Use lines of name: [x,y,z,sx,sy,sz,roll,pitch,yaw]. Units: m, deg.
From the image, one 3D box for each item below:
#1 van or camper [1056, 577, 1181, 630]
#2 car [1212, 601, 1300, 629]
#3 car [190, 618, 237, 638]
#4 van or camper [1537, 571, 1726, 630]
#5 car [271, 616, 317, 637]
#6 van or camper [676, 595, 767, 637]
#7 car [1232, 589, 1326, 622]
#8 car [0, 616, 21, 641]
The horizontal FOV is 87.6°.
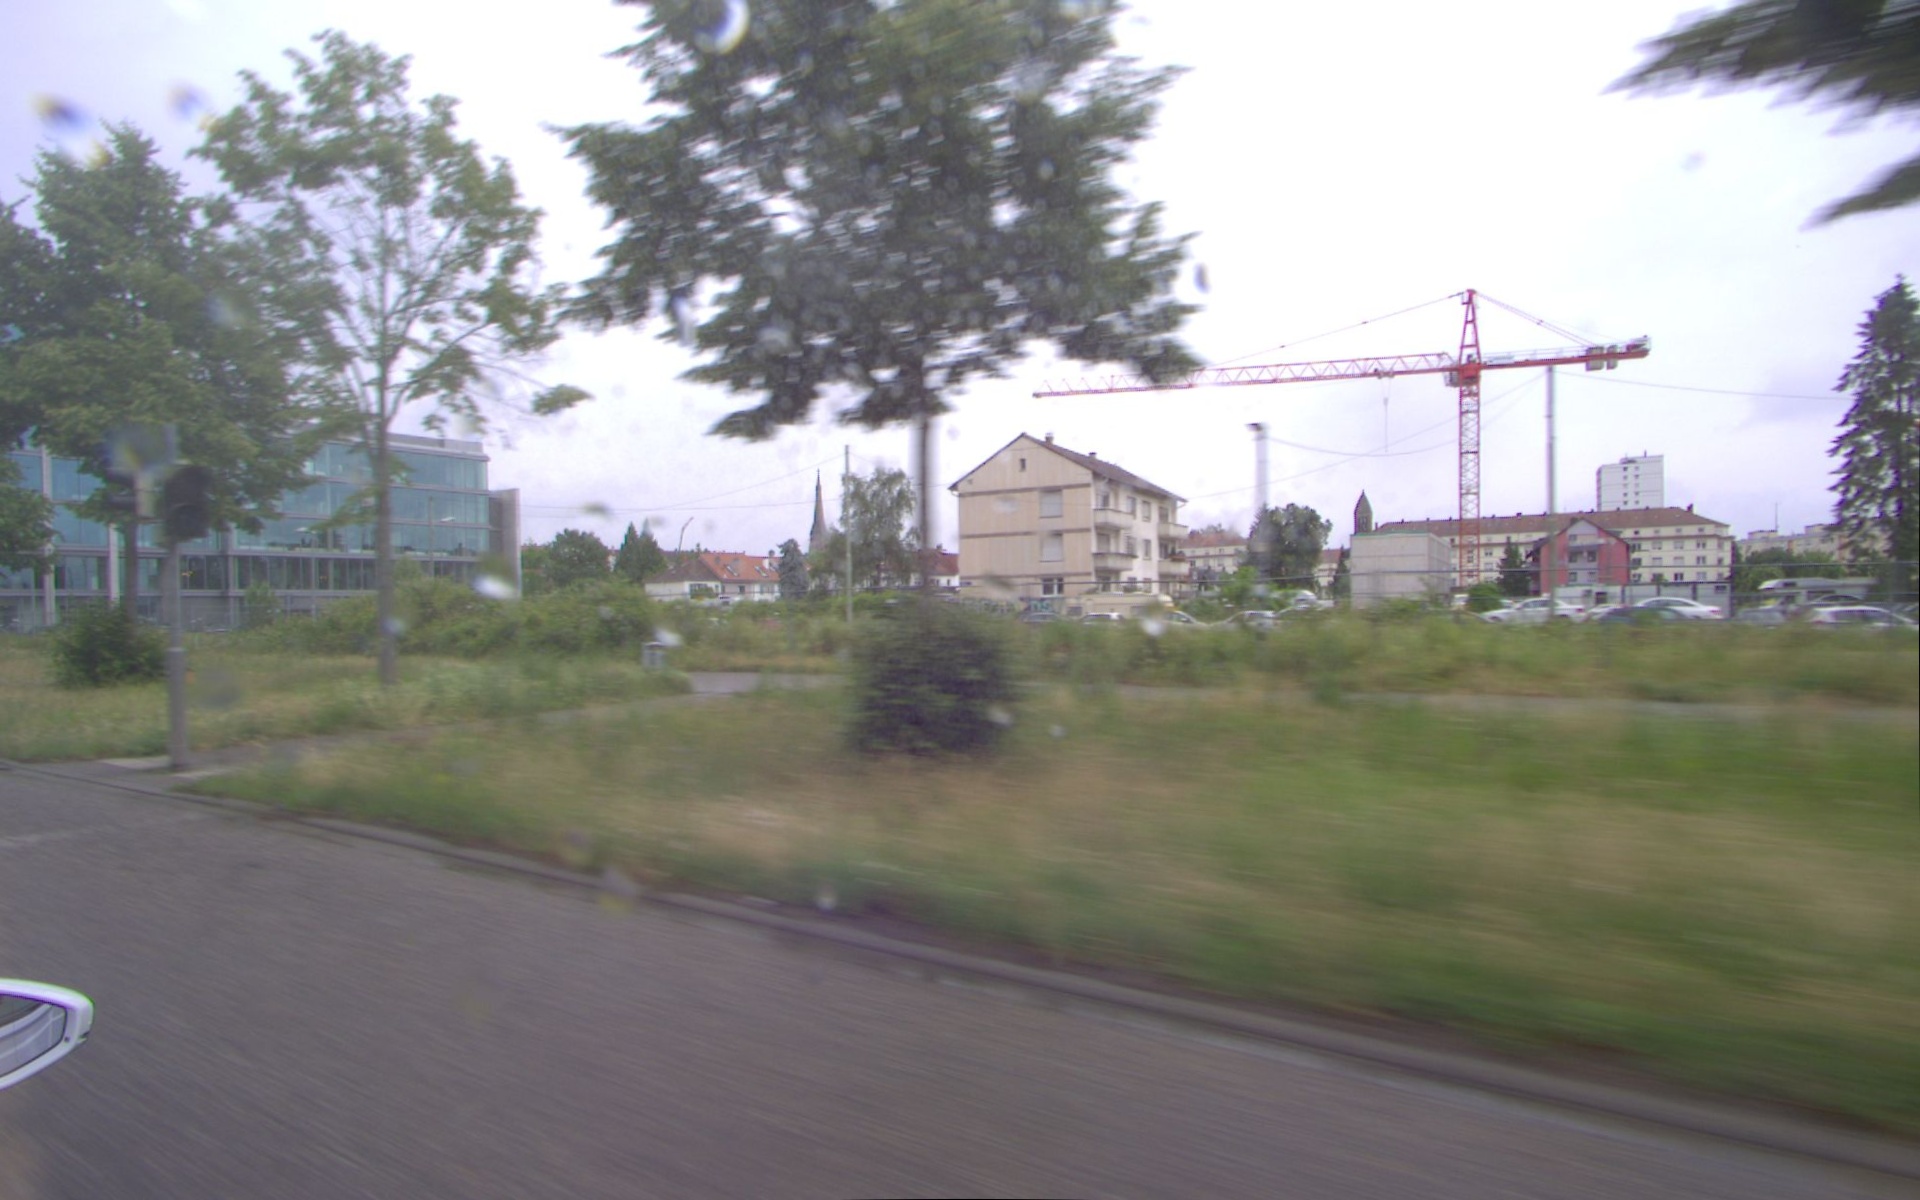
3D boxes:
van or camper: [8.559,0.220,54.299,6.301,2.724,2.305,-1,0,30]
car: [14.906,0.769,50.444,3.976,1.370,1.692,-1,-1,33]
car: [-55.131,2.055,73.927,4.177,1.494,1.779,-1,-1,38]
van or camper: [28.552,0.089,42.954,6.549,2.336,2.500,-1,-2,30]
car: [-51.689,2.032,77.732,3.950,1.622,1.848,-1,-1,38]
van or camper: [-18.150,1.217,76.115,6.681,3.033,2.900,-1,0,33]
car: [19.380,0.349,60.858,5.127,1.919,2.160,-1,0,29]
car: [-62.586,1.831,65.022,3.952,1.601,1.847,-1,-1,40]
